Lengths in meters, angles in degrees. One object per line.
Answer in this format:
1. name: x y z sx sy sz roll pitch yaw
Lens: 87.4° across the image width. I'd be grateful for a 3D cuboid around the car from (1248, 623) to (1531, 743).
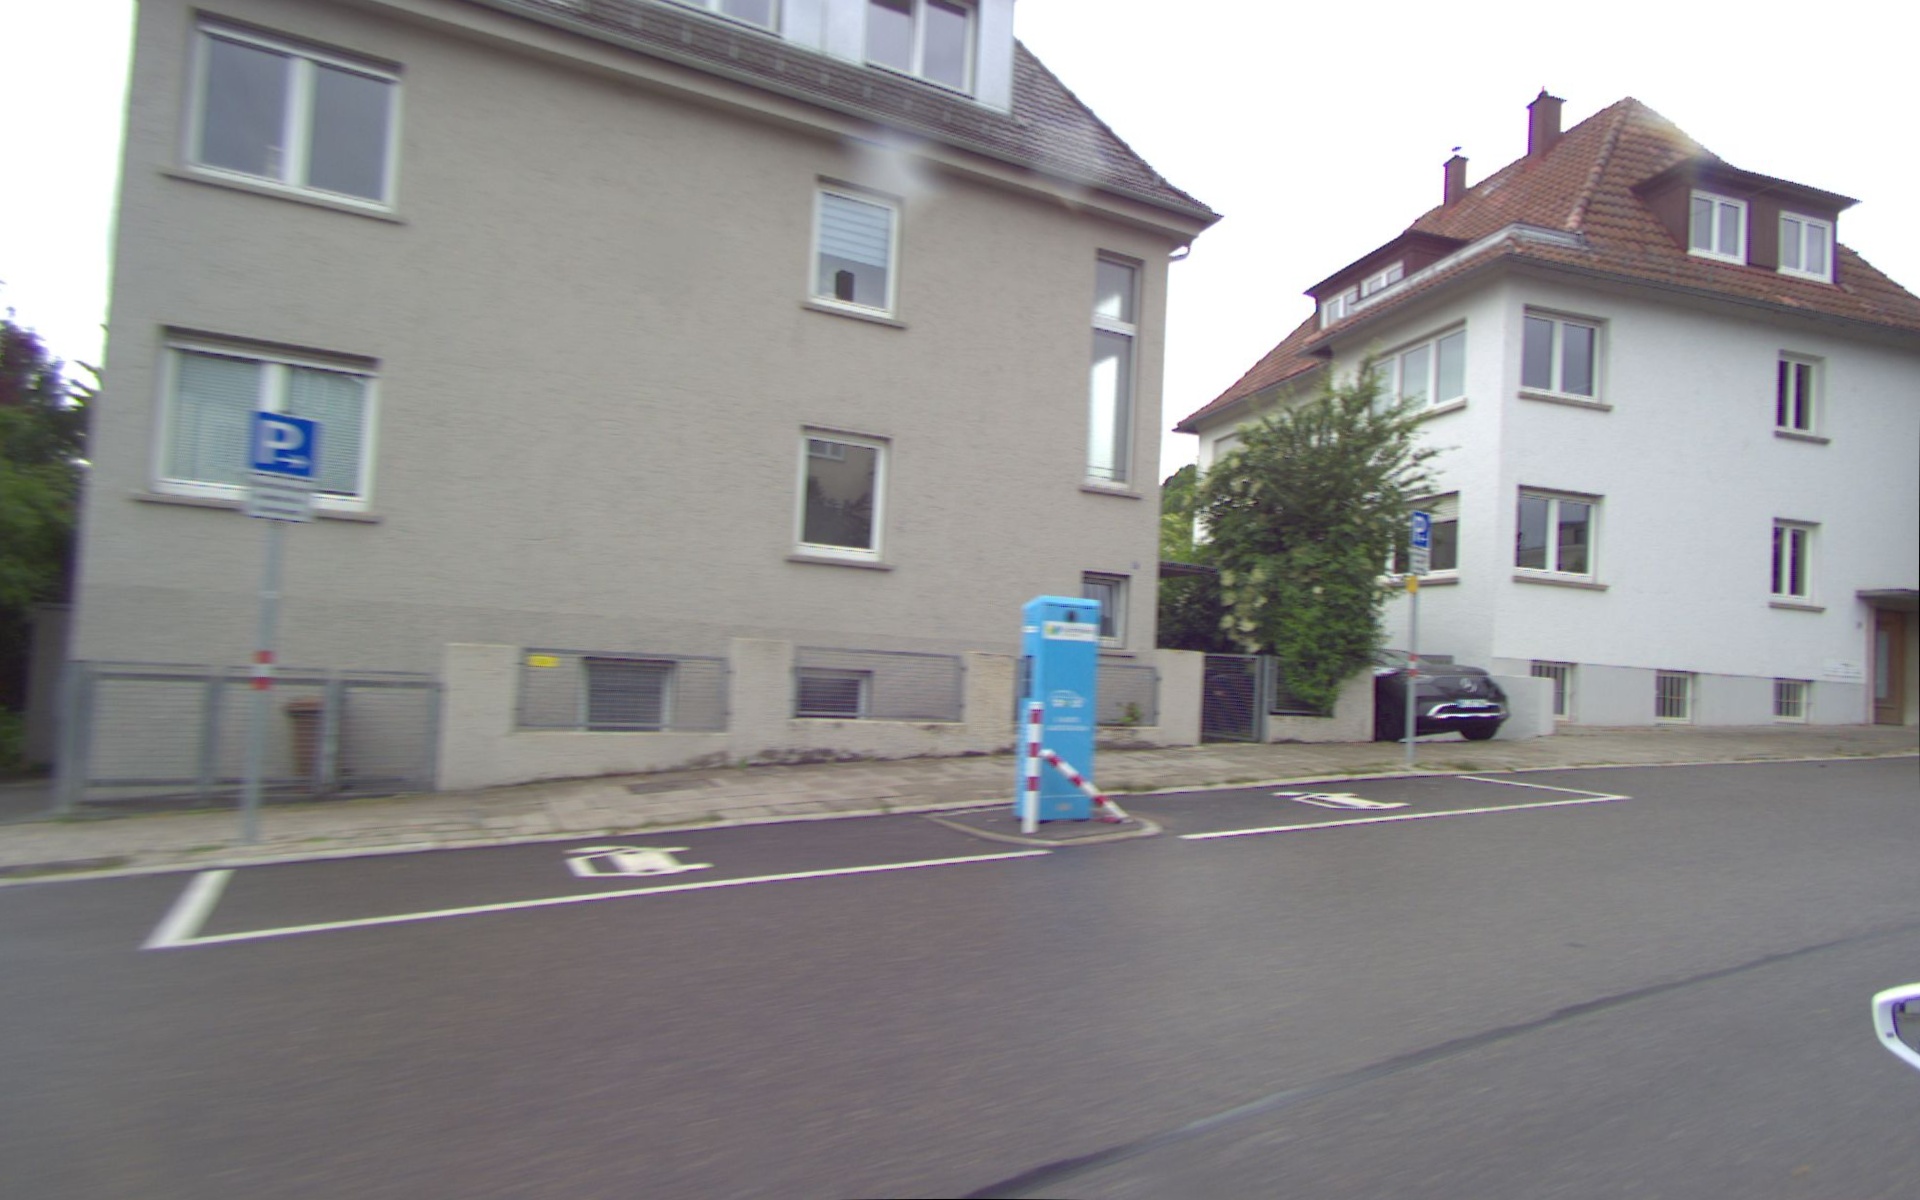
1. car: 6.695 1.465 16.288 1.966 1.643 4.246 1 -8 -15
